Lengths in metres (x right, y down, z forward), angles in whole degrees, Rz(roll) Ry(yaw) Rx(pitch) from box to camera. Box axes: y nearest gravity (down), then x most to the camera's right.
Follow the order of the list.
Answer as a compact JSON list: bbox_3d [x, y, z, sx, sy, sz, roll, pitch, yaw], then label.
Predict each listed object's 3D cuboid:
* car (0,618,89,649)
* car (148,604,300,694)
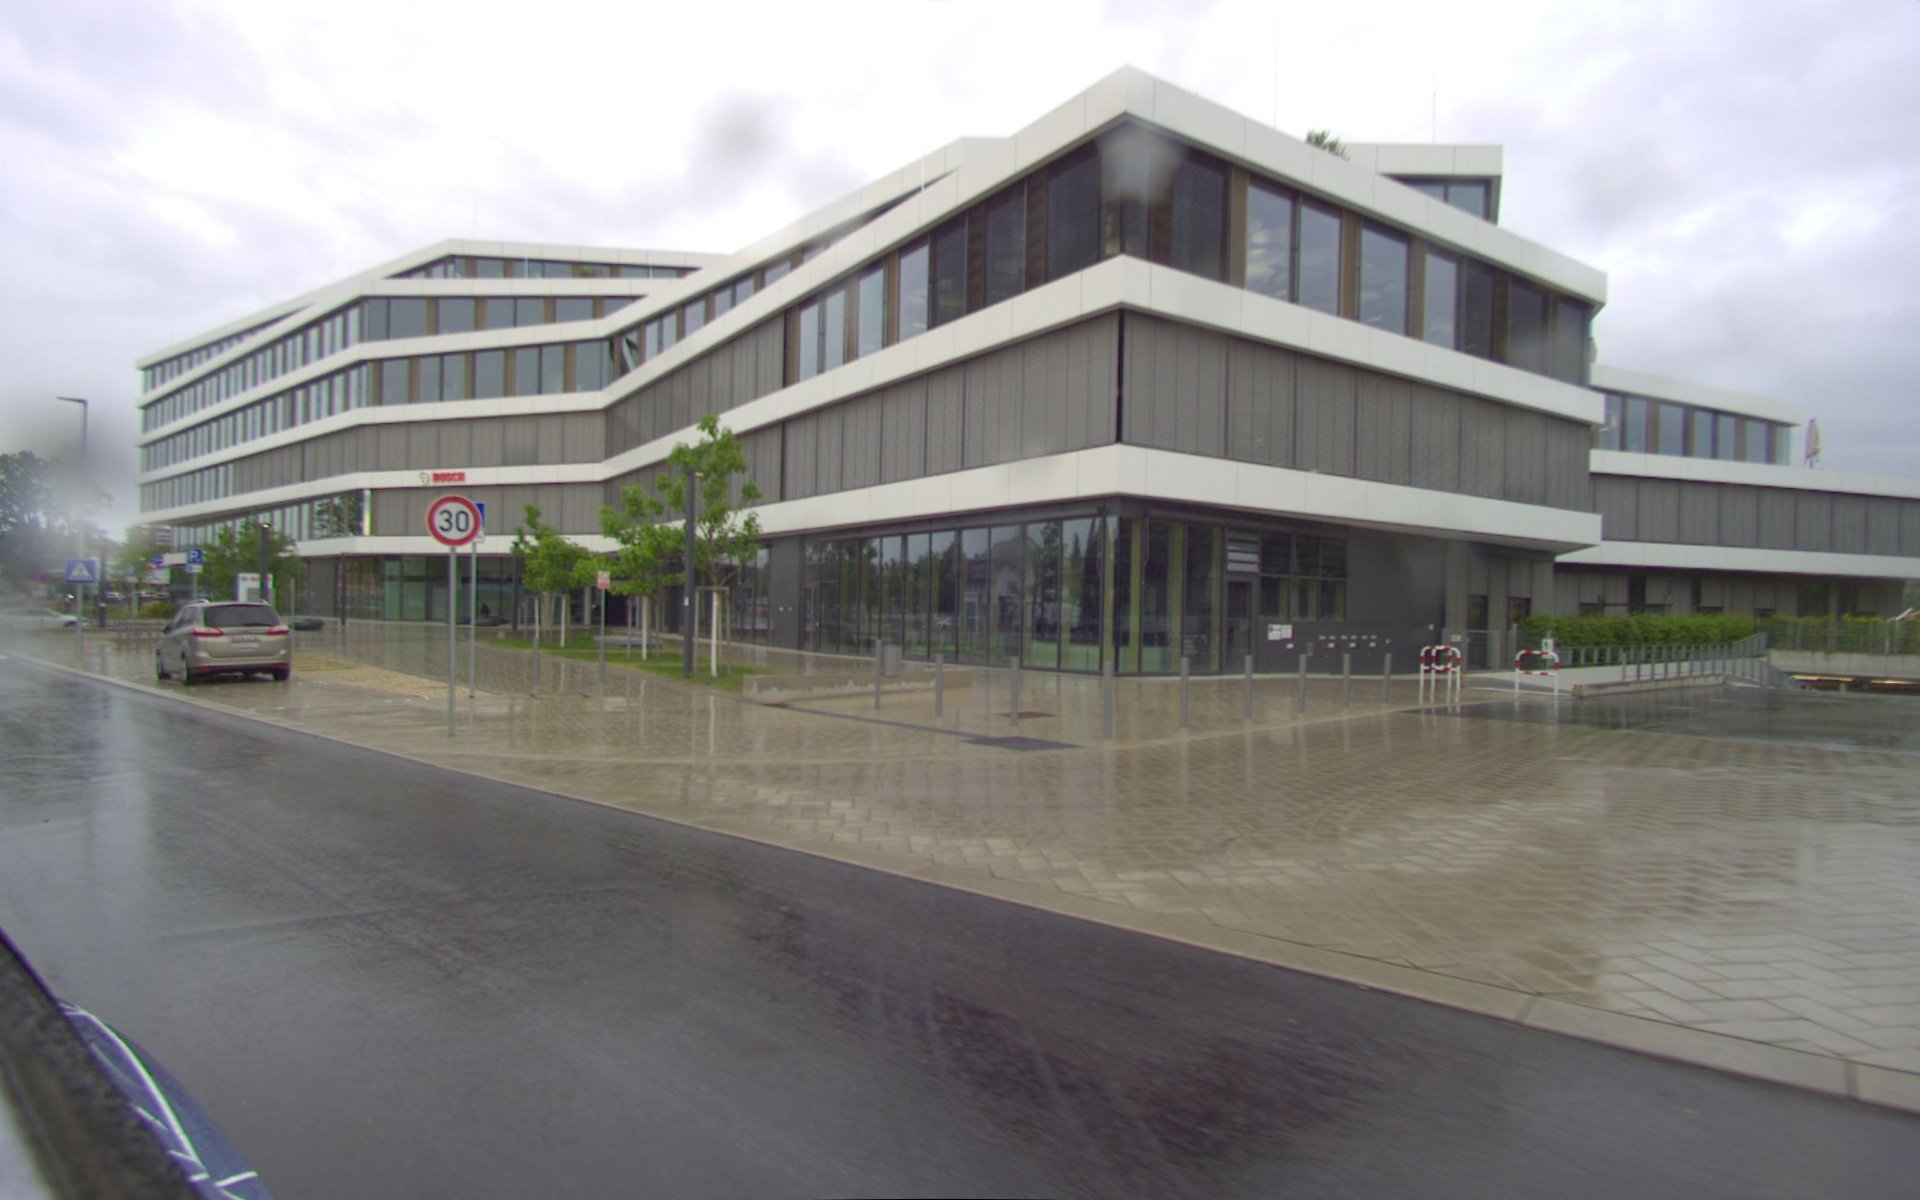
[{"bbox_3d":[-48.414,1.742,53.007,4.109,1.430,2.002,-2,1,-44],"label":"car"},{"bbox_3d":[-15.583,0.951,21.350,4.324,1.719,1.817,0,-1,43],"label":"car"}]
